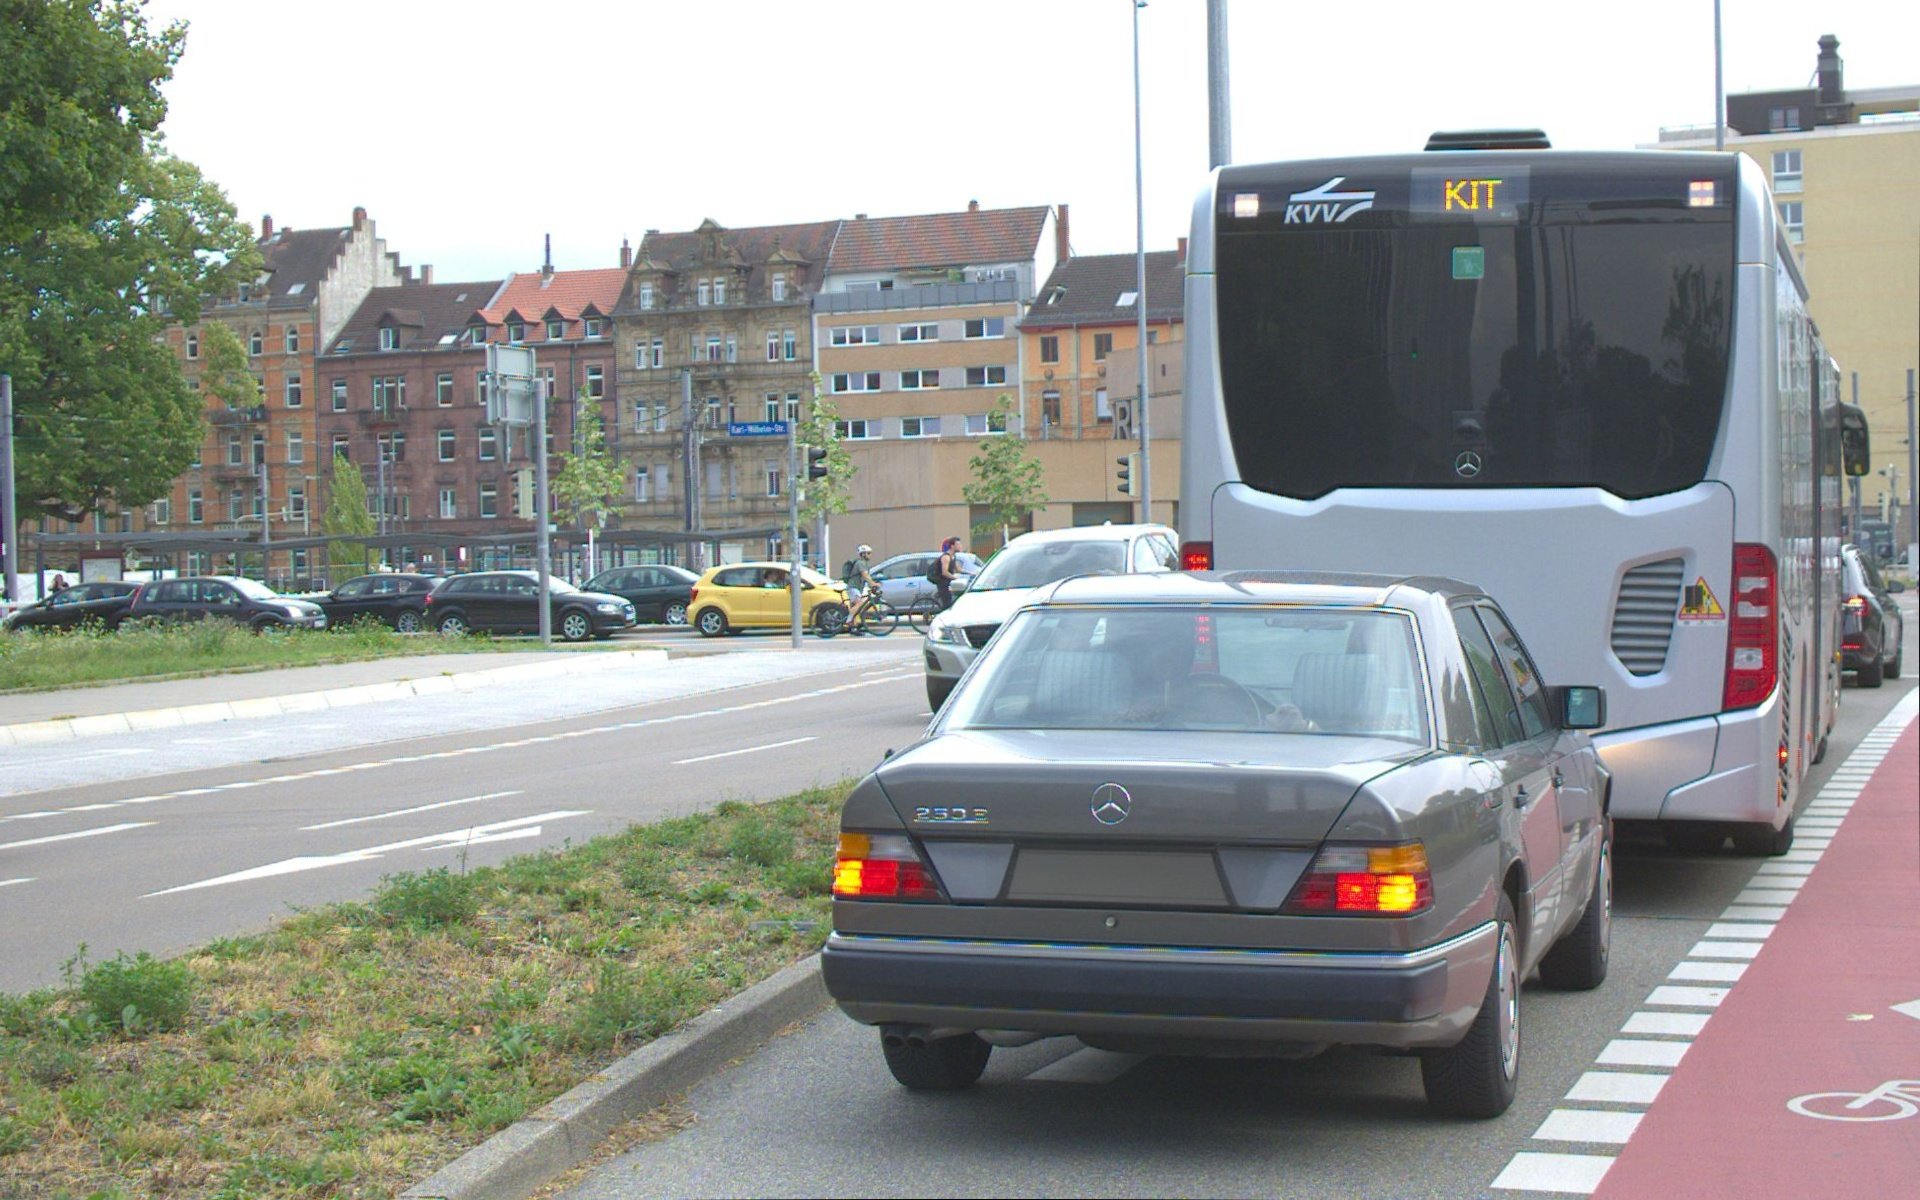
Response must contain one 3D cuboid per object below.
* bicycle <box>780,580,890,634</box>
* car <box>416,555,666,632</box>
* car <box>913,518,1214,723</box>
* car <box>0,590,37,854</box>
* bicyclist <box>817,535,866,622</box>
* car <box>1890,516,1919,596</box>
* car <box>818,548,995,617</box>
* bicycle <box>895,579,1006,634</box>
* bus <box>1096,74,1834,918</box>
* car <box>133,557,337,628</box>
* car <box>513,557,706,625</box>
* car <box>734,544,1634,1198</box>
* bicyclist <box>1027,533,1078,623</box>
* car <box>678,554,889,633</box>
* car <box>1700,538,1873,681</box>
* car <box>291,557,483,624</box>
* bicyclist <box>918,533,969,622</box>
[{"bbox_3d":[-2.365,0.128,65.089,1.965,0.978,0.630,-1,1,12],"label":"bicycle"},{"bbox_3d":[-8.343,-0.147,68.527,4.671,1.470,1.659,1,1,12],"label":"car"},{"bbox_3d":[1.039,0.138,31.767,1.782,1.724,4.370,-2,1,15],"label":"car"},{"bbox_3d":[-6.604,0.763,17.371,1.698,1.438,4.172,-4,0,17],"label":"car"},{"bbox_3d":[-2.240,-0.409,65.043,0.787,1.638,0.572,-1,1,12],"label":"bicyclist"},{"bbox_3d":[27.221,-1.247,93.380,2.587,2.102,5.592,-1,1,28],"label":"car"},{"bbox_3d":[-1.119,-0.375,72.094,3.672,1.389,1.585,0,1,-1],"label":"car"},{"bbox_3d":[-0.182,0.116,64.350,1.965,0.978,0.630,-1,1,16],"label":"bicycle"},{"bbox_3d":[3.044,-0.493,18.085,2.833,3.379,8.177,-1,1,15],"label":"bus"},{"bbox_3d":[-14.774,-0.159,70.138,3.765,1.389,1.584,1,1,12],"label":"car"},{"bbox_3d":[-7.436,-0.196,73.065,3.765,1.389,1.584,1,1,12],"label":"car"},{"bbox_3d":[0.894,0.605,10.188,1.762,1.484,4.168,-1,1,16],"label":"car"},{"bbox_3d":[1.706,-0.404,63.450,0.787,1.638,0.613,-1,1,15],"label":"bicyclist"},{"bbox_3d":[-3.462,-0.146,67.800,3.858,1.512,1.659,0,1,12],"label":"car"},{"bbox_3d":[8.744,0.069,36.273,1.656,1.392,3.858,-1,1,14],"label":"car"},{"bbox_3d":[-12.329,-0.220,74.013,3.765,1.389,1.584,1,1,12],"label":"car"},{"bbox_3d":[-0.313,-0.422,64.368,0.787,1.638,0.572,-1,1,17],"label":"bicyclist"}]
